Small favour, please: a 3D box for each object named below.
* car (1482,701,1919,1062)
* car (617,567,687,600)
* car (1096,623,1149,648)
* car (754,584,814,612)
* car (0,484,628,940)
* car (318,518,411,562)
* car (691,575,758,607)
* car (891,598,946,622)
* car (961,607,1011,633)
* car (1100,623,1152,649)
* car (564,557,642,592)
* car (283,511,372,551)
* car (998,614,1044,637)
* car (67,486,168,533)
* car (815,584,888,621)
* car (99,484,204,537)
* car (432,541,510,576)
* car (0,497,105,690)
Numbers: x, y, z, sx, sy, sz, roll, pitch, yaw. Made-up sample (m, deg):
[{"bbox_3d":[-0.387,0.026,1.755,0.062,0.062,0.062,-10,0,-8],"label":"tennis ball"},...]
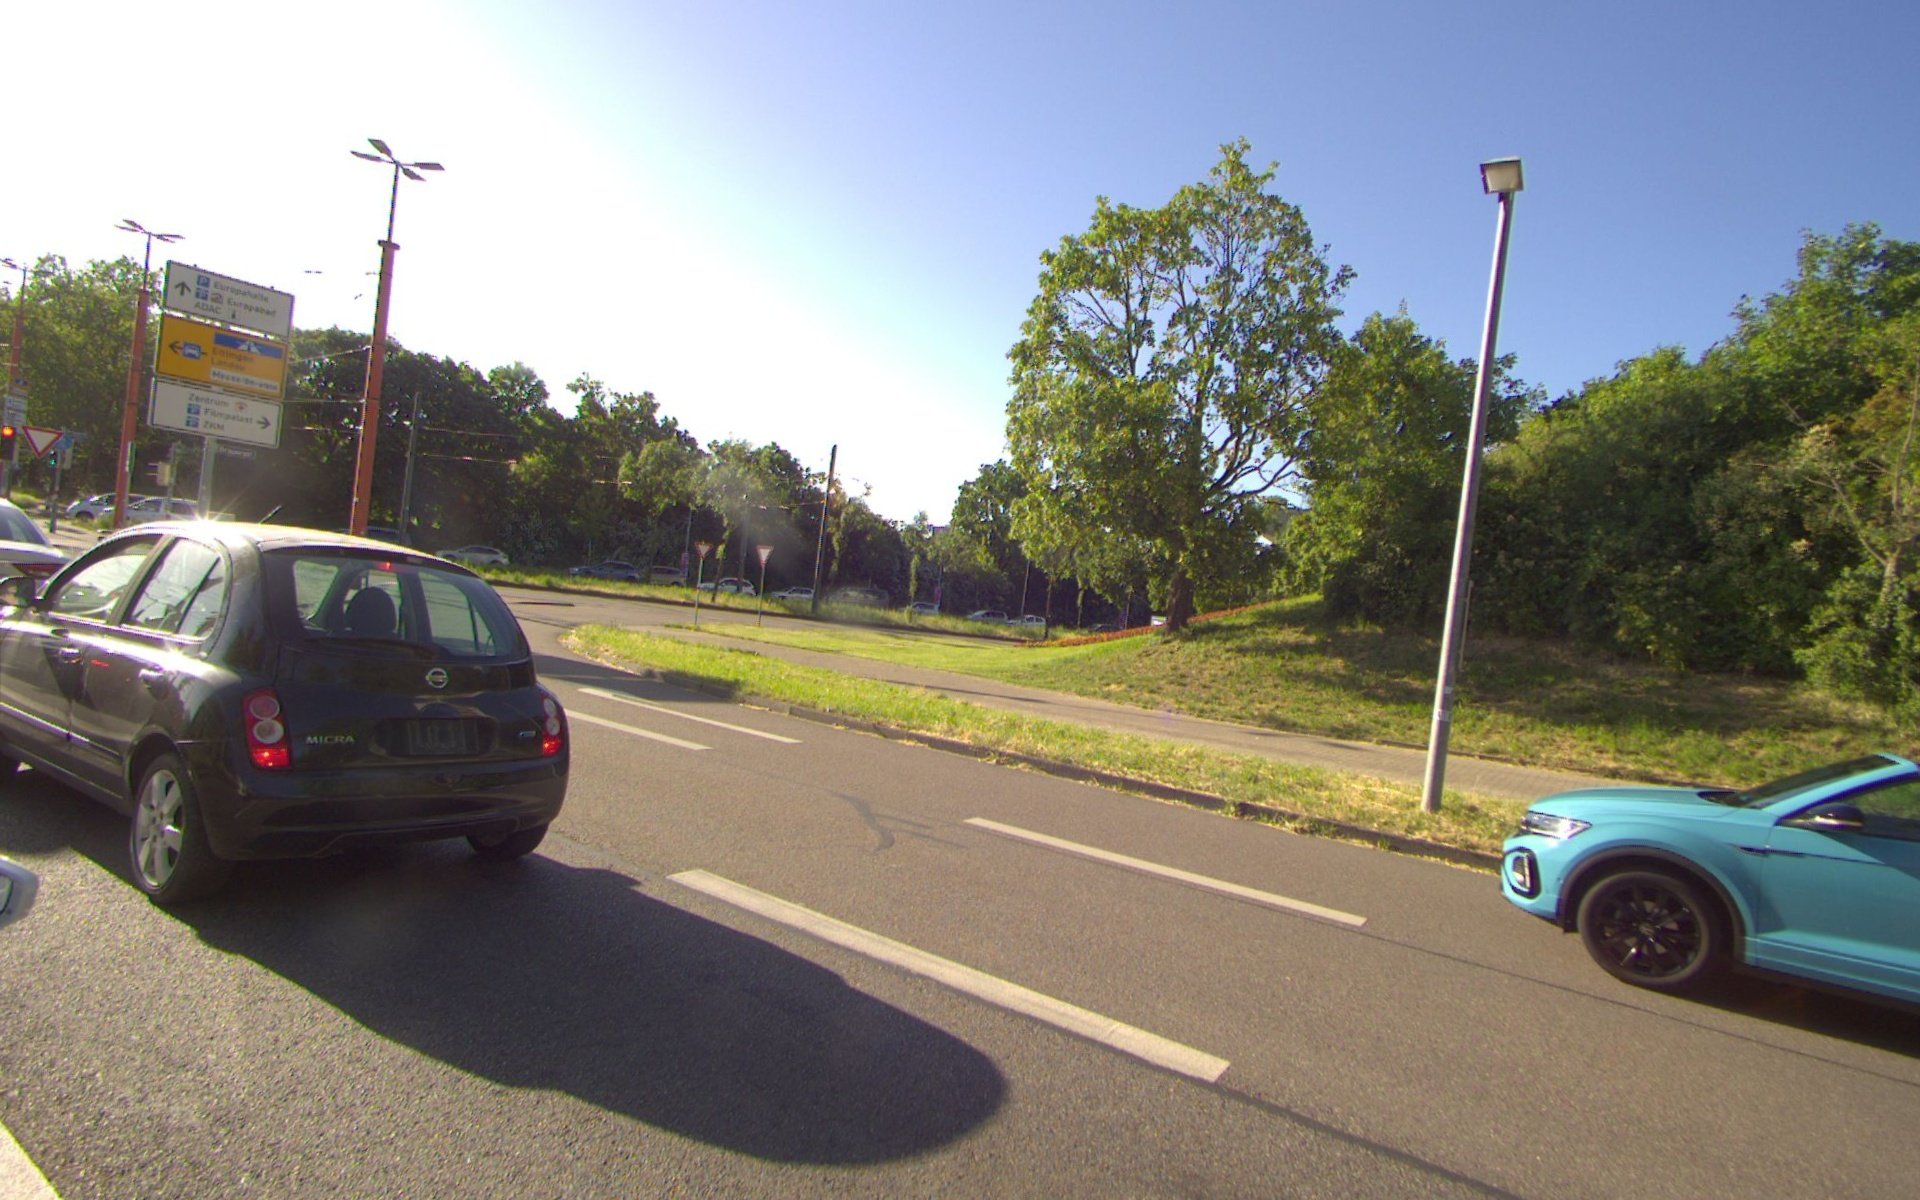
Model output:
[{"bbox_3d":[5.327,1.597,5.489,4.069,1.468,1.734,6,-1,37],"label":"car"},{"bbox_3d":[-20.510,-1.085,66.995,4.088,1.663,1.839,8,-1,-29],"label":"car"},{"bbox_3d":[13.209,2.914,81.719,3.959,1.466,1.801,9,-2,-30],"label":"car"},{"bbox_3d":[-12.389,-0.119,70.848,3.708,1.491,1.588,8,-1,-31],"label":"car"},{"bbox_3d":[-3.653,0.353,5.211,3.555,1.518,1.656,7,-1,32],"label":"car"},{"bbox_3d":[-32.474,-3.234,54.948,4.151,1.663,1.745,9,-2,-32],"label":"car"},{"bbox_3d":[-15.327,-0.583,65.539,3.790,1.541,1.682,8,-1,-30],"label":"car"},{"bbox_3d":[-3.181,0.755,76.838,3.804,1.278,1.590,9,-2,-32],"label":"car"},{"bbox_3d":[1.964,1.508,75.779,3.369,1.475,1.453,8,0,-31],"label":"car"},{"bbox_3d":[14.330,3.115,86.769,4.195,1.701,1.690,8,-1,-29],"label":"car"},{"bbox_3d":[-21.872,-1.558,61.694,4.089,1.617,1.814,8,-1,-31],"label":"car"},{"bbox_3d":[-35.578,-3.845,56.690,4.095,1.528,1.808,9,-2,-32],"label":"car"},{"bbox_3d":[4.930,2.029,81.206,3.413,1.384,1.280,9,-2,-31],"label":"car"},{"bbox_3d":[-43.529,-4.640,52.078,3.619,1.674,1.666,9,-2,-33],"label":"car"},{"bbox_3d":[-7.586,0.178,70.331,4.536,2.038,1.984,8,0,-30],"label":"car"},{"bbox_3d":[-40.264,-4.427,50.225,3.812,1.911,1.747,9,-2,-35],"label":"car"},{"bbox_3d":[-29.358,-2.499,60.422,3.937,1.457,1.674,9,-2,-31],"label":"car"},{"bbox_3d":[-9.151,-0.279,8.527,4.130,1.454,1.723,7,-1,33],"label":"car"}]
